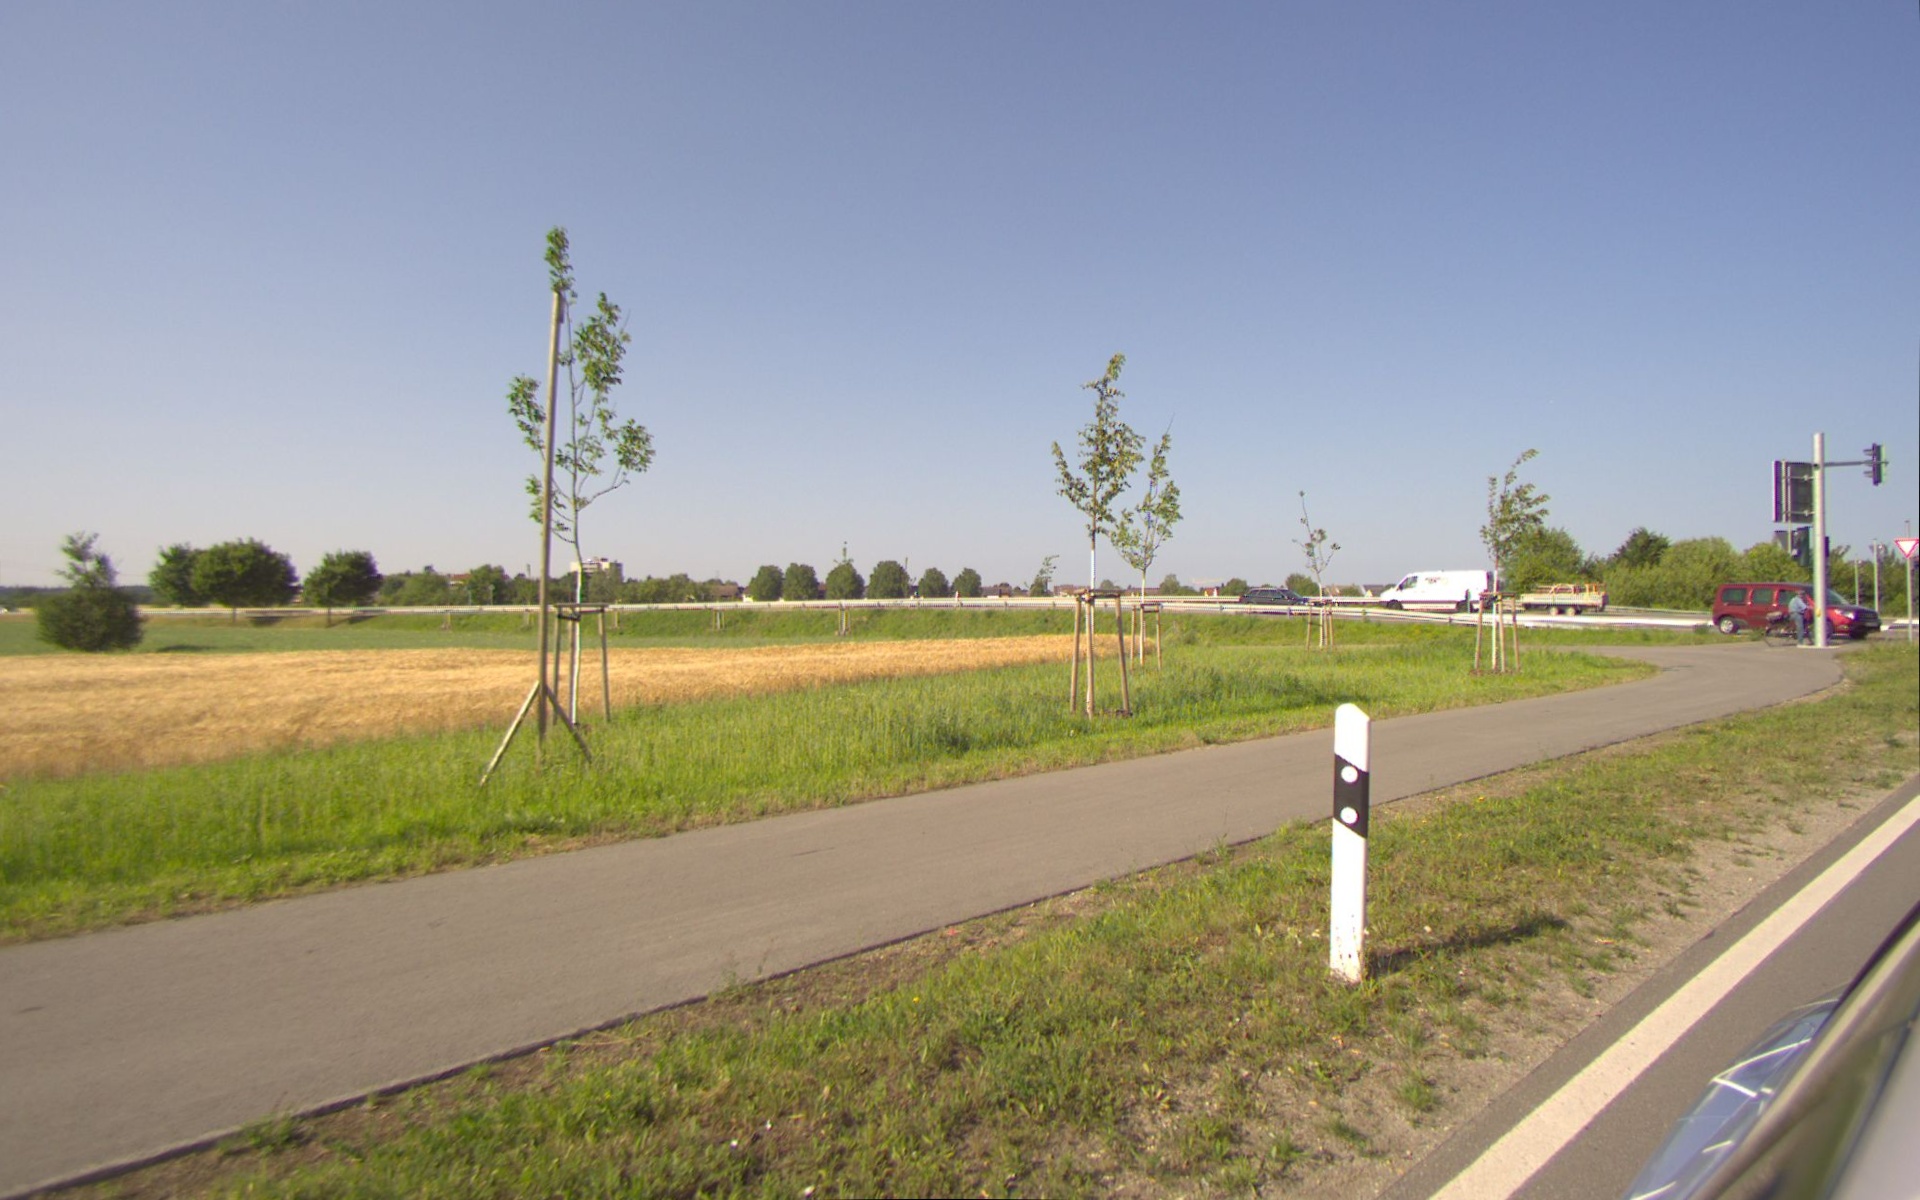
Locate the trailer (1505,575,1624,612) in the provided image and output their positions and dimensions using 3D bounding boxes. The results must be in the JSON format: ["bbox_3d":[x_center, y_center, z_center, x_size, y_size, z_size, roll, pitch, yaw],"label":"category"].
[{"bbox_3d":[30.854,-0.369,51.764,4.992,1.759,1.951,1,2,42],"label":"trailer"}]

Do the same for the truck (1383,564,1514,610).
[{"bbox_3d":[26.699,-0.741,55.505,6.174,2.434,2.040,1,2,42],"label":"truck"}]

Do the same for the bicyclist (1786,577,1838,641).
[{"bbox_3d":[24.807,0.261,29.469,0.903,1.787,0.618,-3,1,11],"label":"bicyclist"}]

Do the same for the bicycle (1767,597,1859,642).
[{"bbox_3d":[24.812,0.571,29.471,1.914,1.165,0.679,-3,1,11],"label":"bicycle"}]

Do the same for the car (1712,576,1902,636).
[{"bbox_3d":[27.924,0.167,33.586,1.658,1.860,4.708,-1,0,-16],"label":"car"}]
